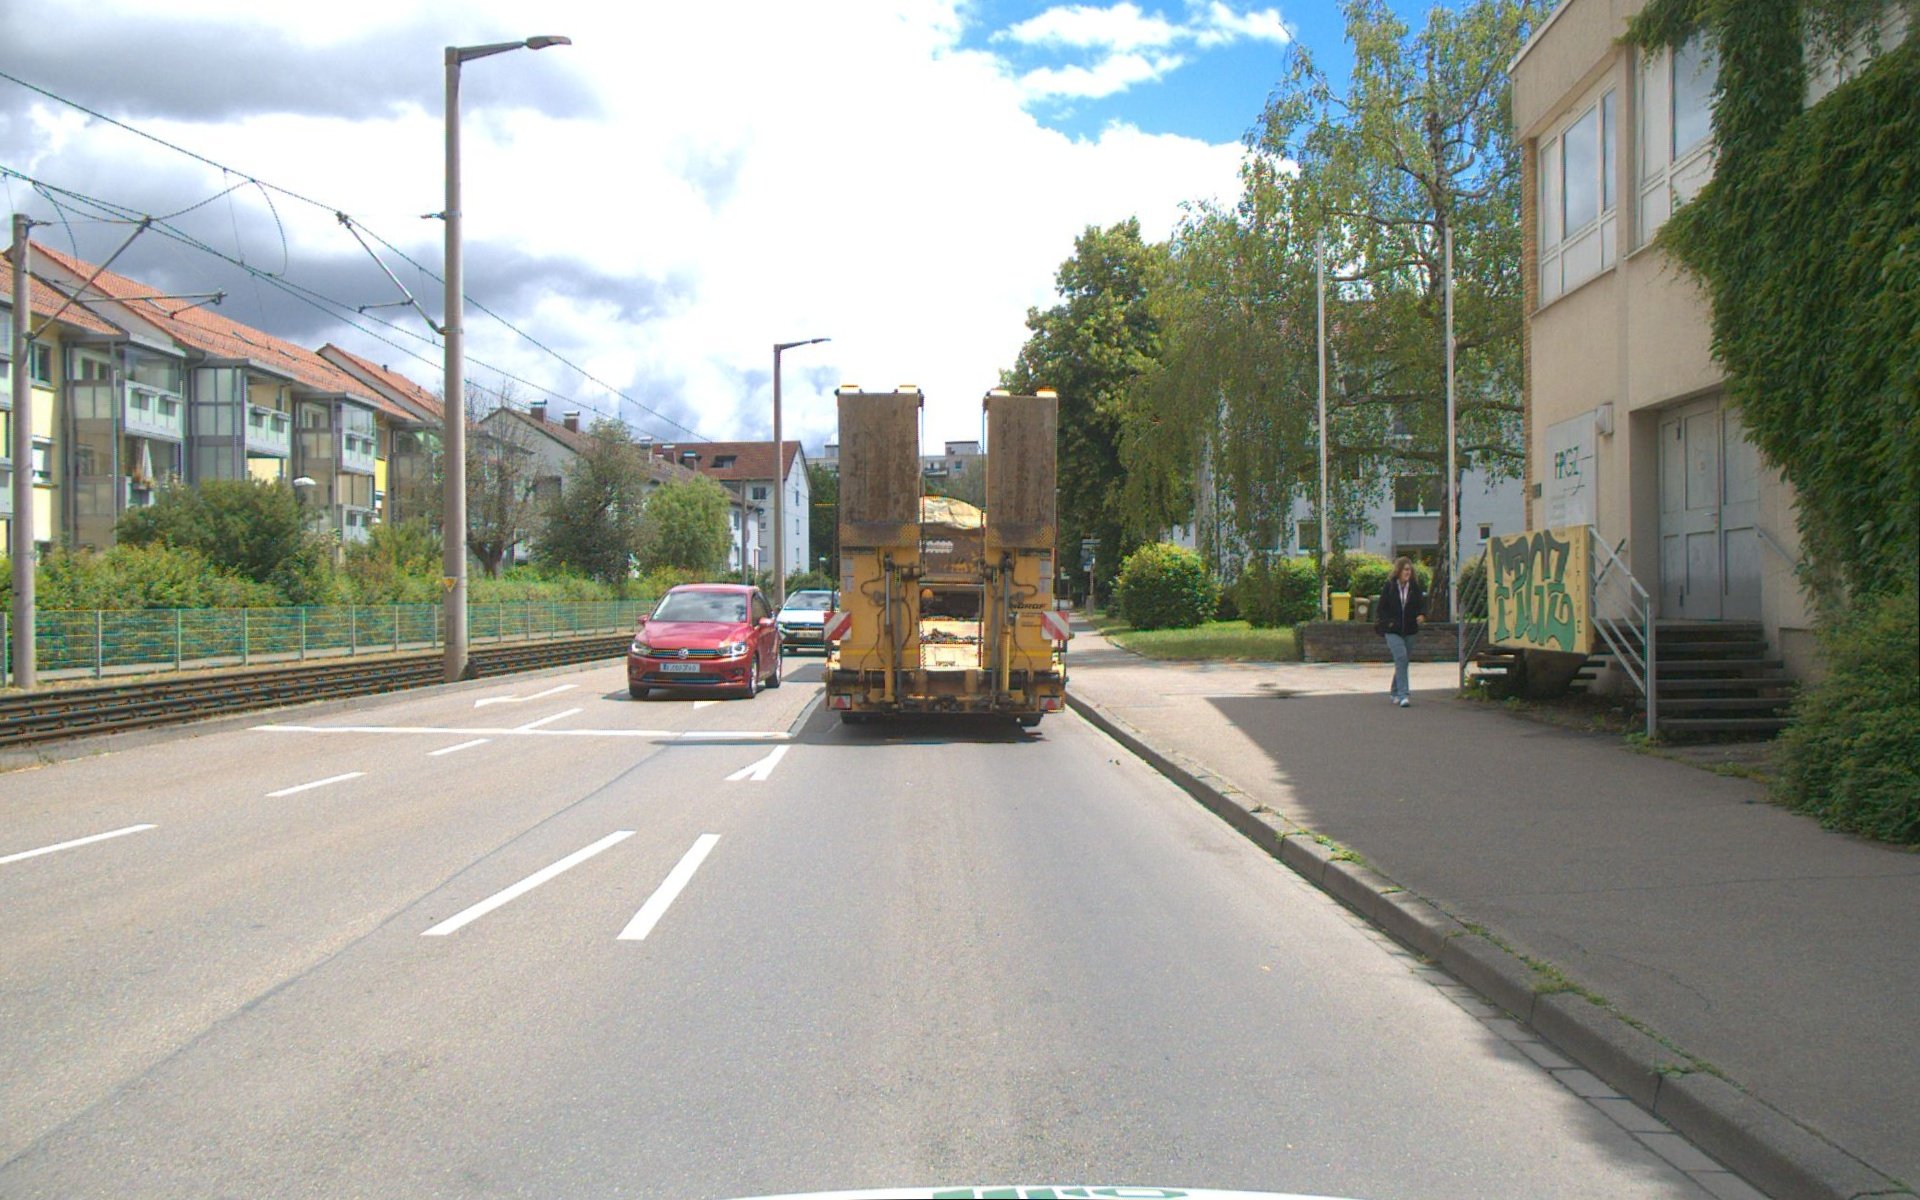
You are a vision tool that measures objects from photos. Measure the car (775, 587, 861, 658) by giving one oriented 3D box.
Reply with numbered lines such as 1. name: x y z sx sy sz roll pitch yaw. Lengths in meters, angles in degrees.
1. car: -3.338 0.501 39.495 1.724 1.579 4.000 1 0 0

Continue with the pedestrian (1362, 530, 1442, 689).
1. pedestrian: 5.102 0.108 19.131 0.792 1.802 0.817 0 0 8

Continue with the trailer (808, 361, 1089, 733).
1. trailer: -0.338 -0.553 22.925 2.770 3.709 12.348 1 0 -2

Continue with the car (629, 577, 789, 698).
1. car: -3.569 0.501 24.105 1.629 1.579 4.000 1 0 1
